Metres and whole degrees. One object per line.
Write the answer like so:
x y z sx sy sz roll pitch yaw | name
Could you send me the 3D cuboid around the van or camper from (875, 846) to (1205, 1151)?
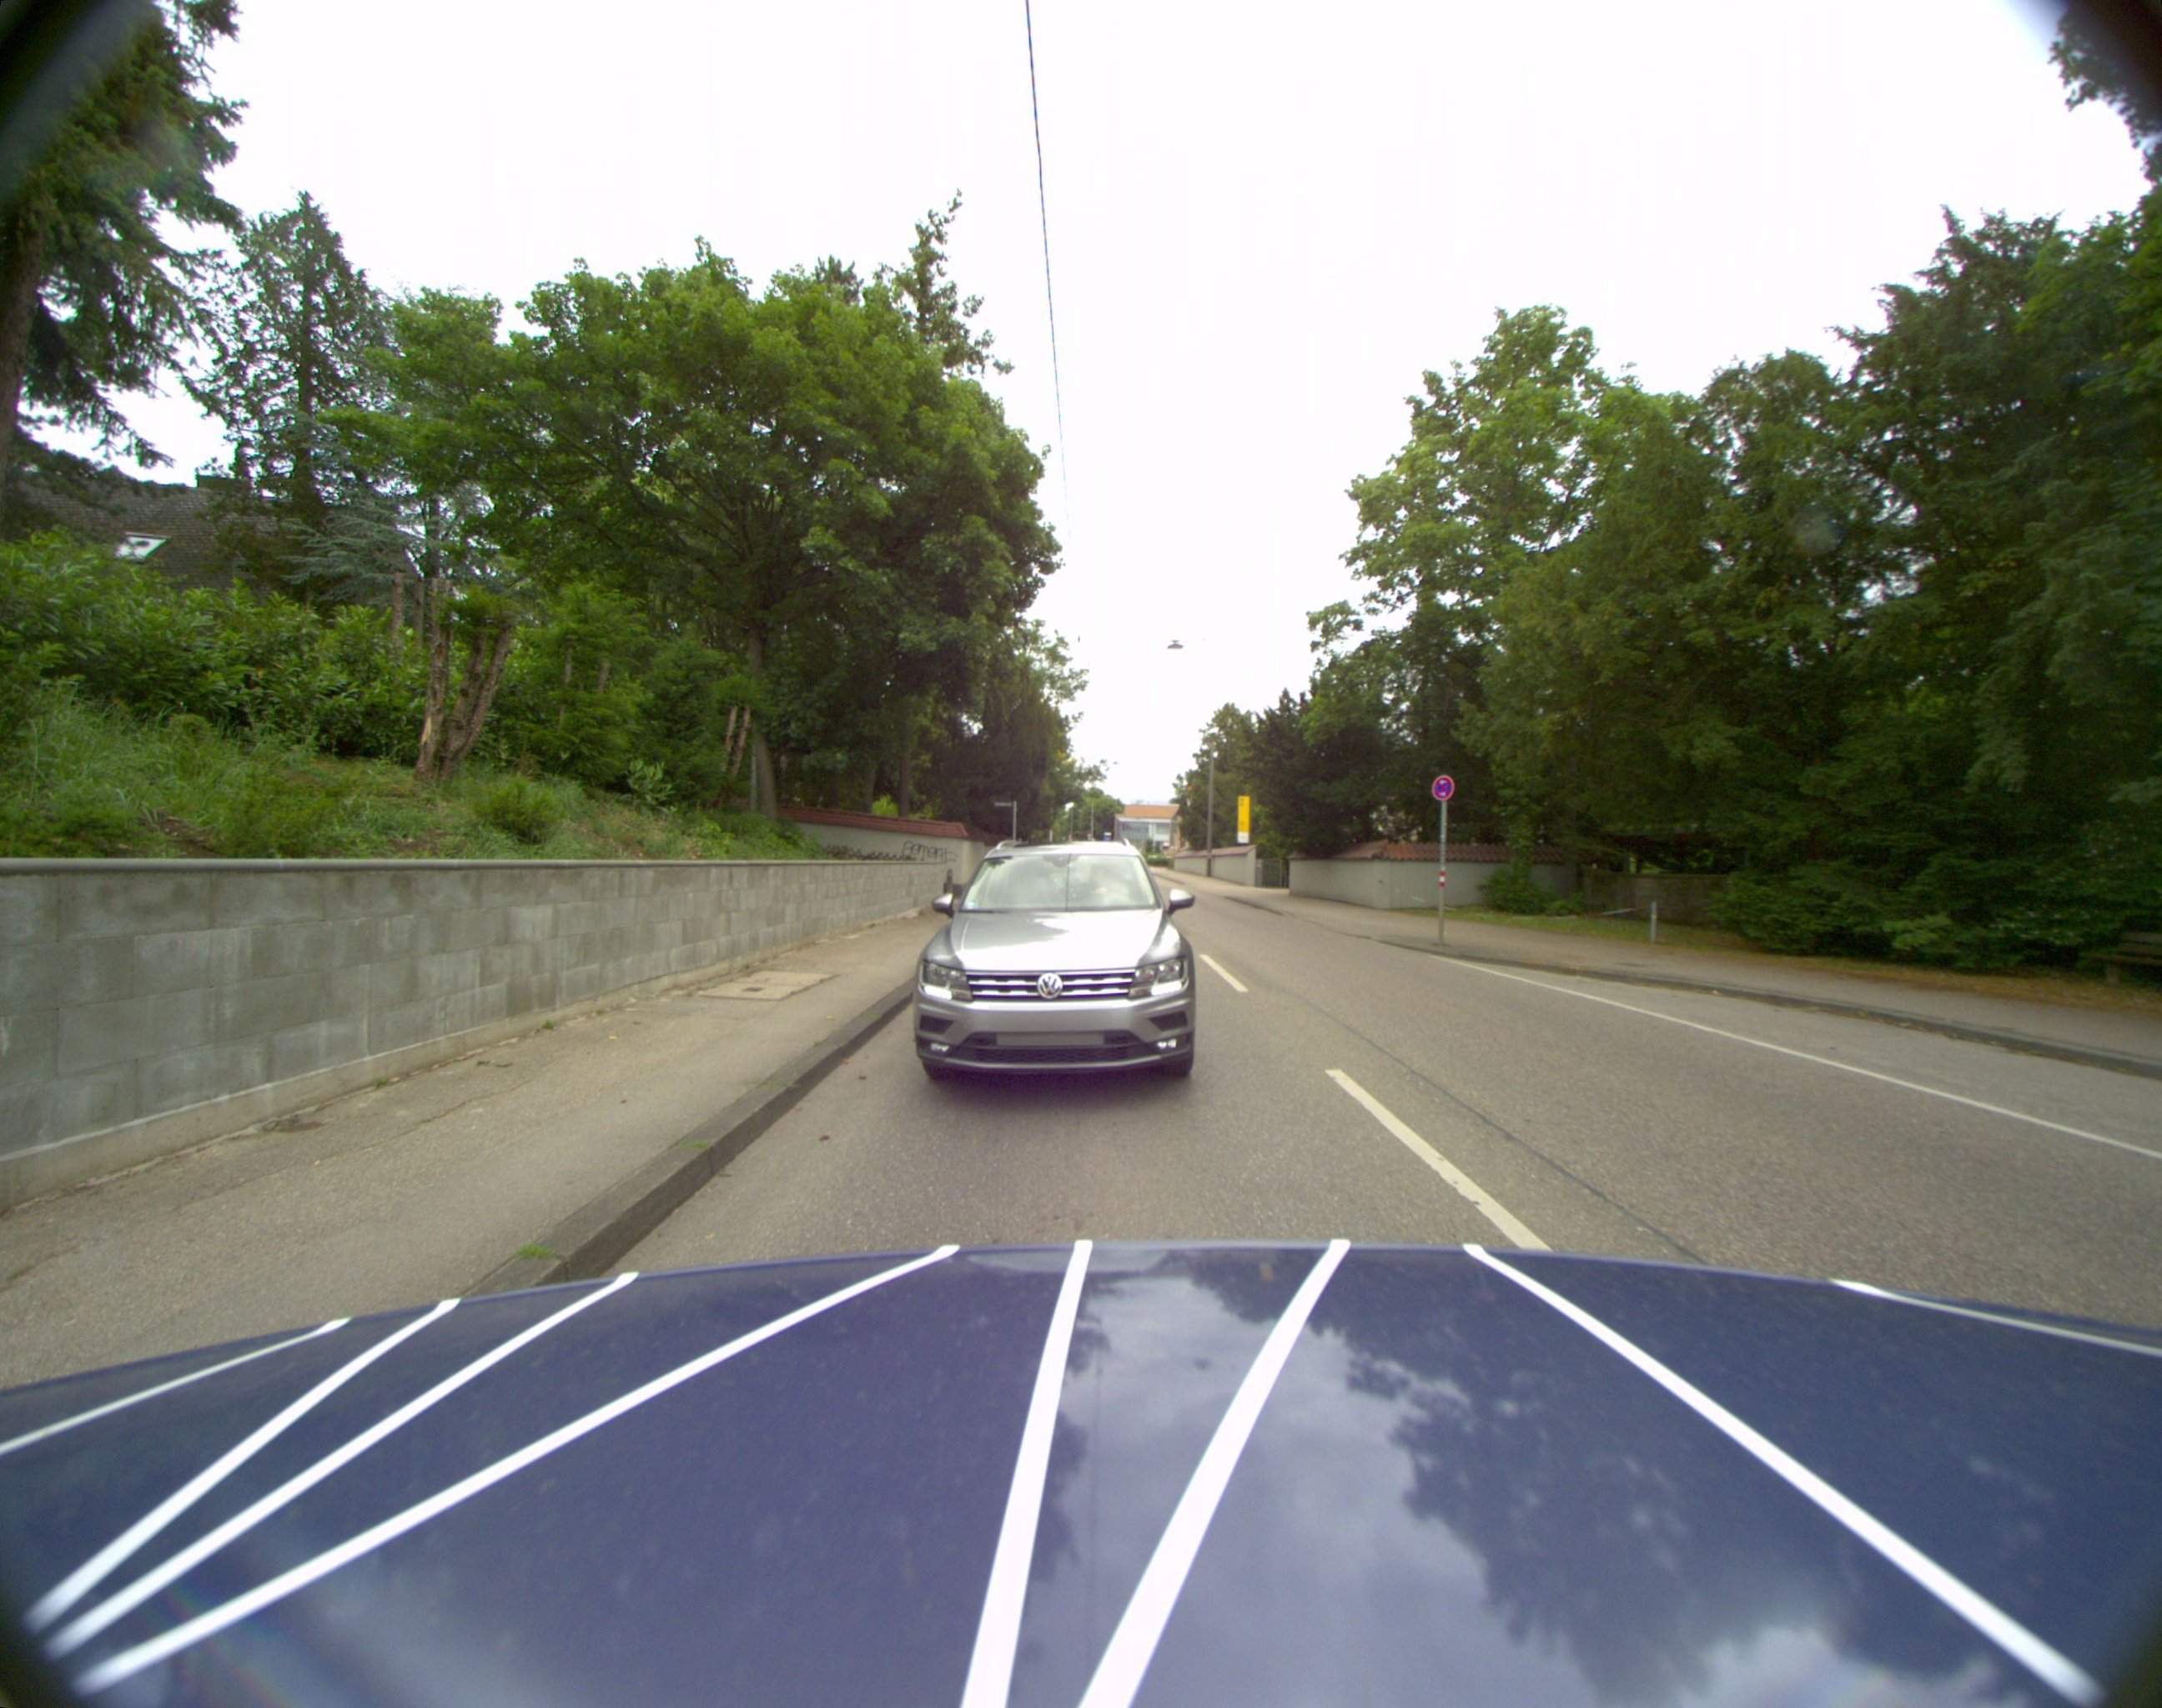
-0.202 0.783 6.269 1.800 1.663 4.198 0 0 1 | van or camper
